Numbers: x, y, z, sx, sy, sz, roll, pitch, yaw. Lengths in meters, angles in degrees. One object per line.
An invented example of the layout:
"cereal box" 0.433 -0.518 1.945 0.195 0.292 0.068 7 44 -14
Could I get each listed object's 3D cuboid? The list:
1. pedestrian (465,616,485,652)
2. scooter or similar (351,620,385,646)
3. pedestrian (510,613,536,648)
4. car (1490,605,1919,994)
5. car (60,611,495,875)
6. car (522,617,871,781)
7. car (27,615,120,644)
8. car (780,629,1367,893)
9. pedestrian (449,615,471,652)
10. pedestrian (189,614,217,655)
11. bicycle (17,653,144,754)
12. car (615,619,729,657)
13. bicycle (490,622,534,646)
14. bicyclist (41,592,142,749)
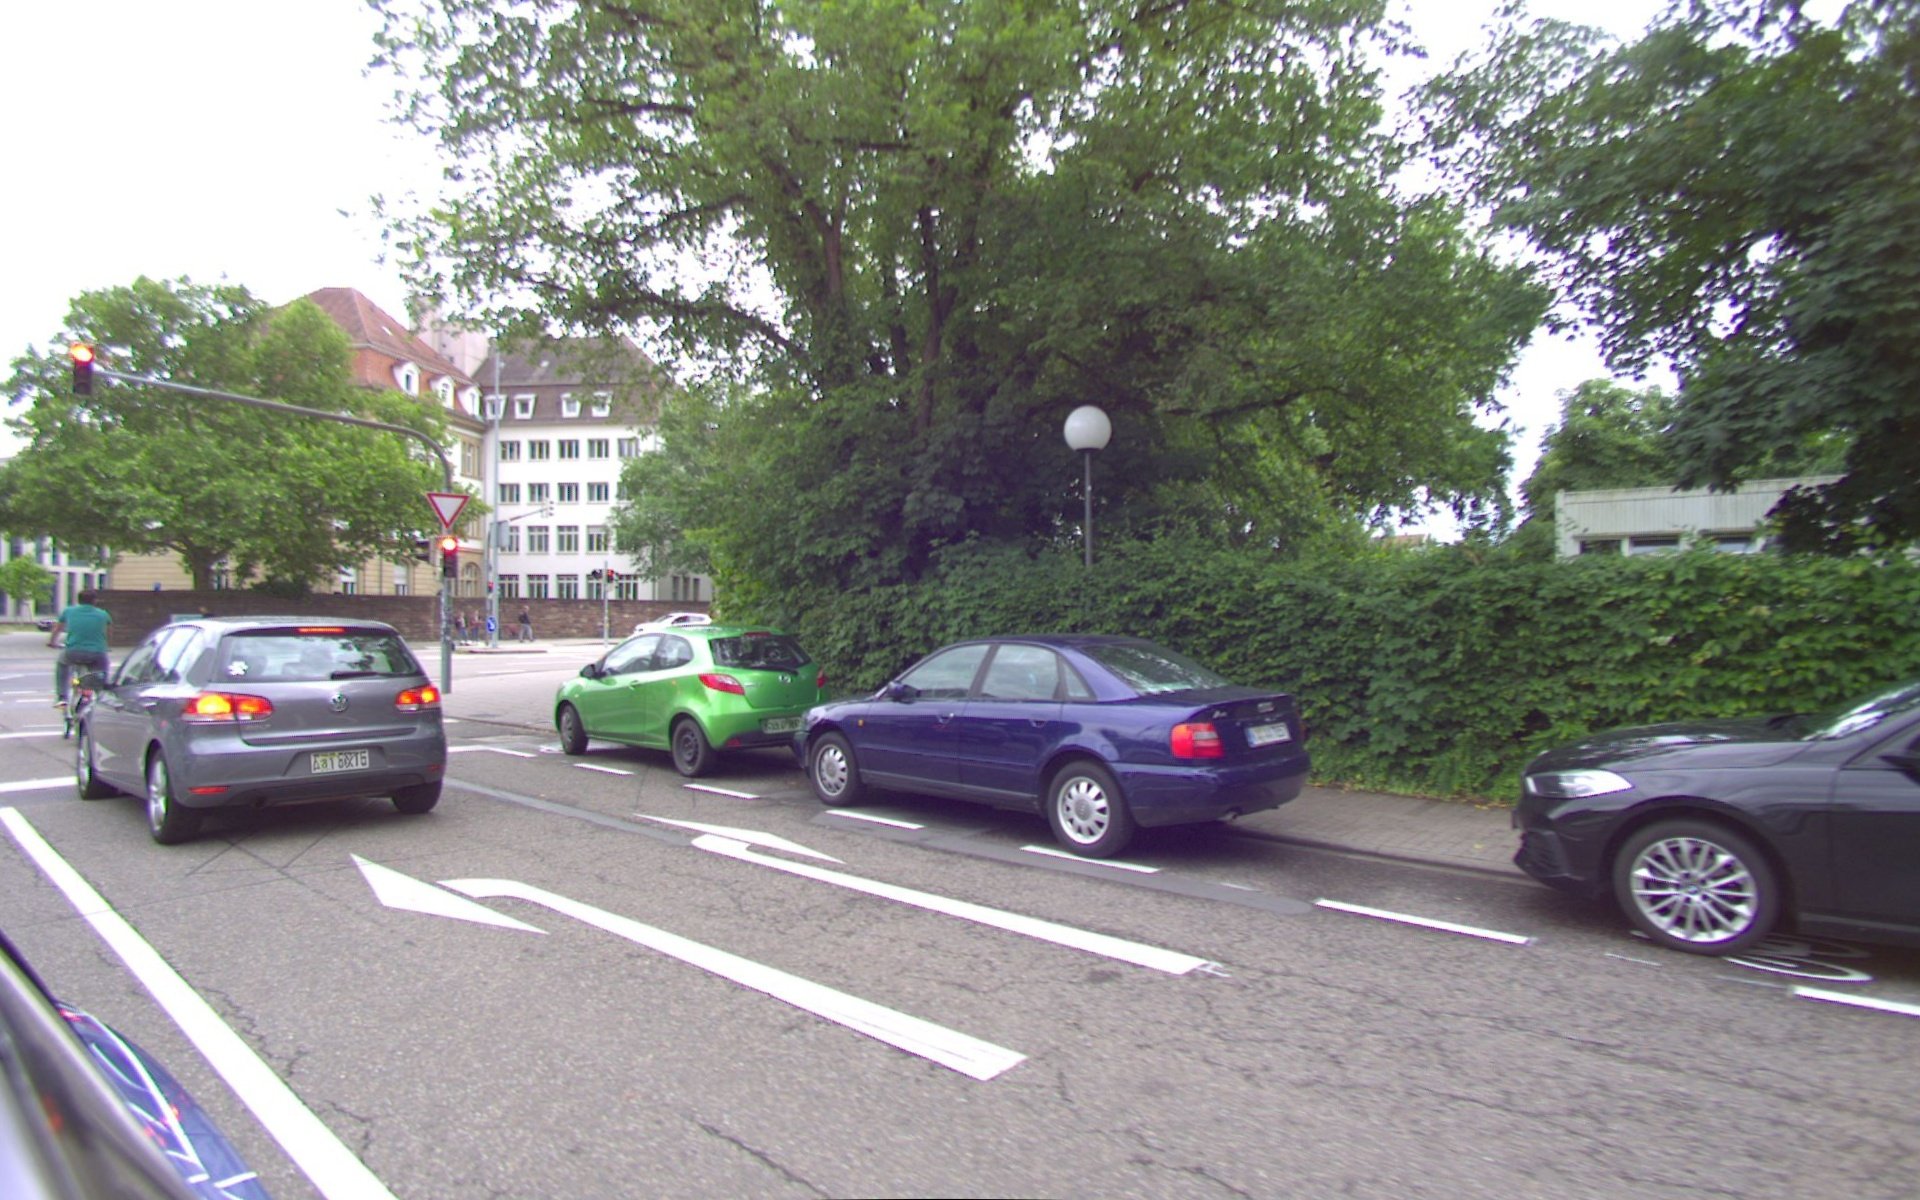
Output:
"pedestrian" -23.761 1.659 49.576 0.633 1.706 0.780 1 -1 -43
"scooter or similar" -28.226 1.570 48.265 1.389 1.239 0.497 2 0 -30
"pedestrian" -22.615 1.576 52.422 0.757 1.802 0.993 -1 -2 40
"car" 4.987 0.811 4.333 4.528 1.573 1.779 -2 -3 41
"car" -5.435 0.854 7.844 4.166 1.508 1.764 -1 -2 41
"car" -3.083 0.949 11.324 4.248 1.481 1.778 -1 -2 43
"car" -60.061 1.969 68.667 1.978 1.593 4.393 -10 -2 7
"car" 0.617 0.953 7.782 4.338 1.419 1.777 -1 -2 45
"pedestrian" -24.253 1.636 49.068 0.734 1.752 0.662 0 -1 38
"pedestrian" -31.622 1.438 42.285 0.791 1.677 0.798 -4 -3 41
"bicycle" -10.341 1.179 11.883 1.852 1.045 0.652 0 -2 34
"car" -14.759 1.941 52.046 2.048 1.710 5.296 -4 -3 44
"bicycle" -23.827 1.793 53.848 0.581 1.194 2.132 1 -1 32
"bicyclist" -10.382 0.812 12.099 0.981 1.793 0.652 -1 -2 34
